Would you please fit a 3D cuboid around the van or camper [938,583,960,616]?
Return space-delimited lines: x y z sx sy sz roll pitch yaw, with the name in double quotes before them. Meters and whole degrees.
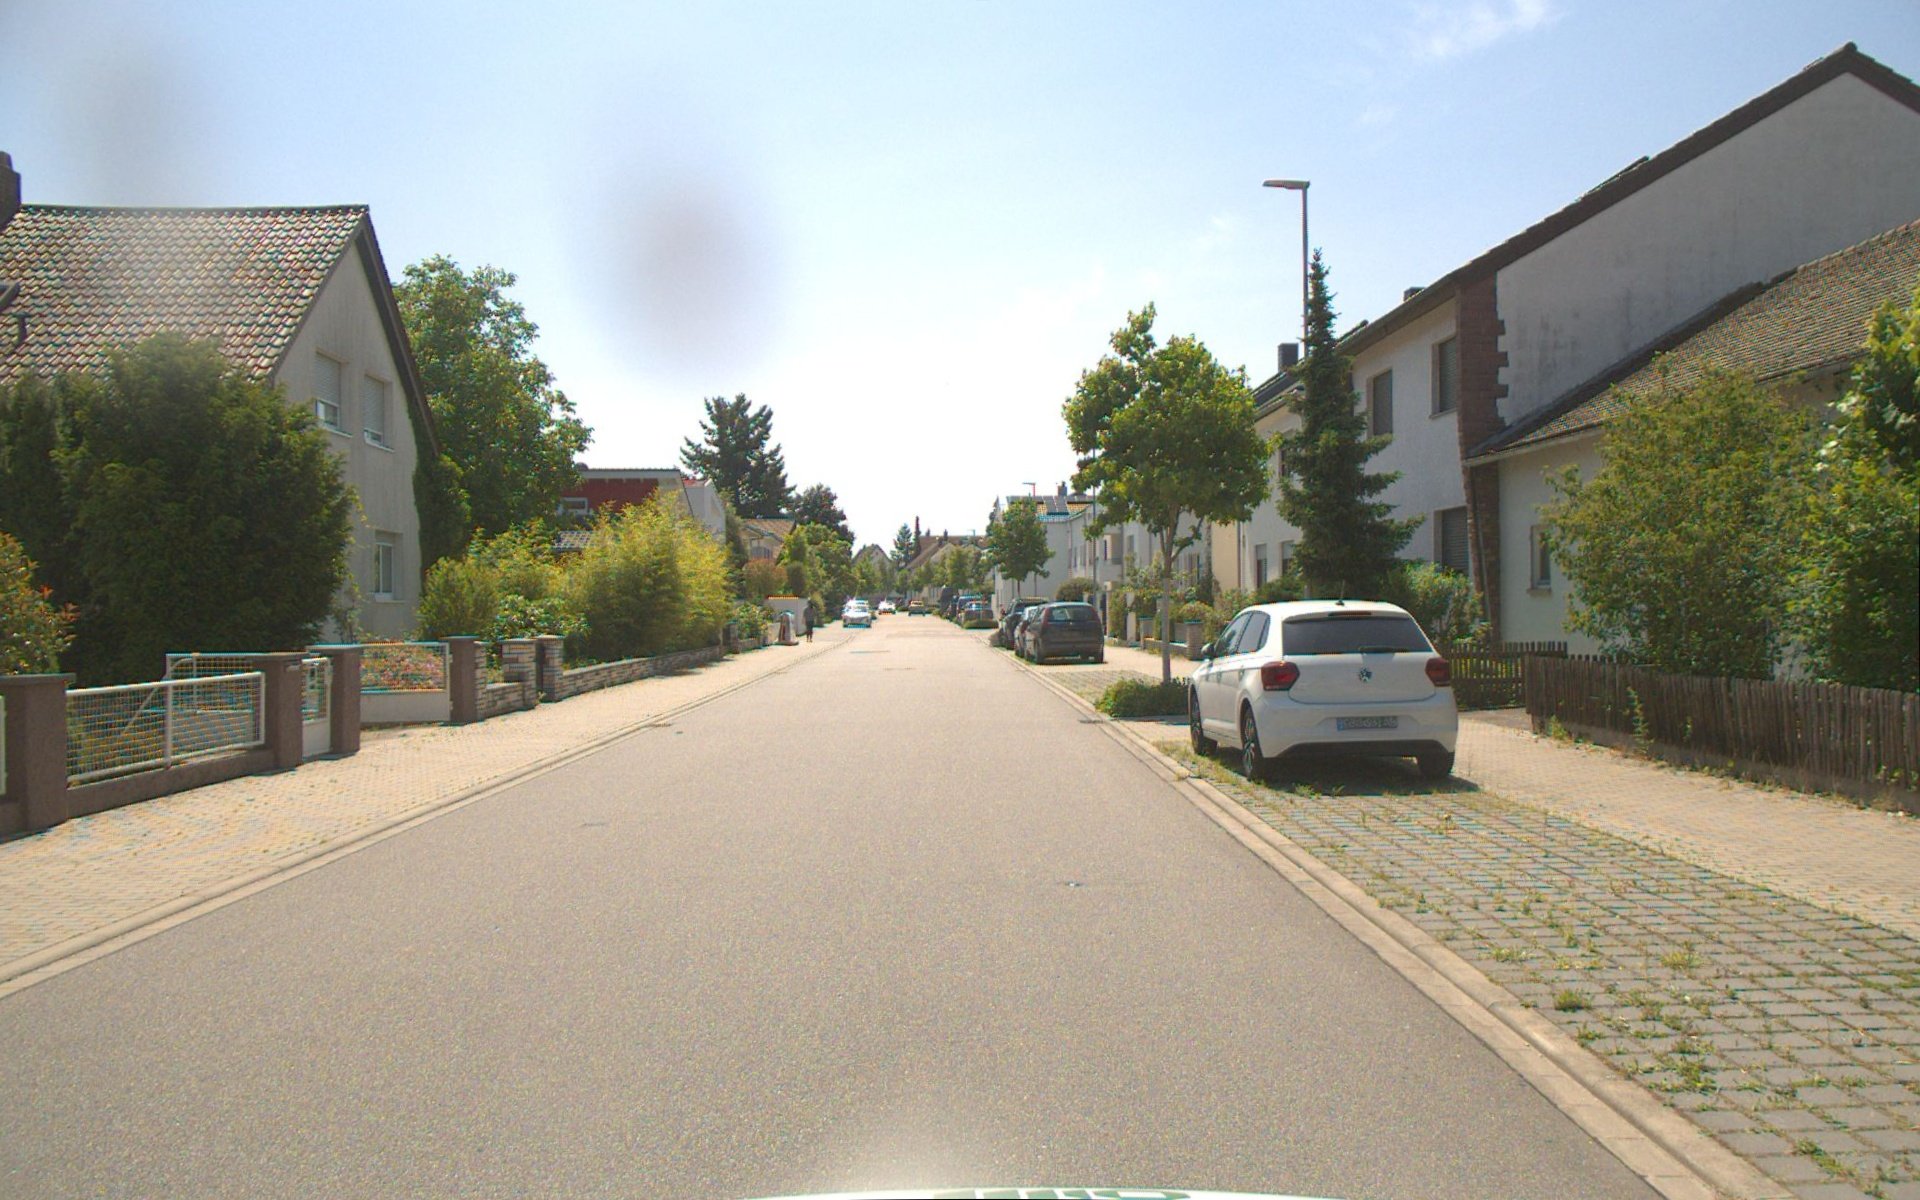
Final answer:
"van or camper" -1.071 -0.039 156.547 1.953 2.993 3.998 -1 0 -2

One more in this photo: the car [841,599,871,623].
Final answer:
"car" -6.851 0.725 109.079 1.814 1.514 4.384 -1 0 -2

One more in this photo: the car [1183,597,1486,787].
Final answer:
"car" 3.188 0.712 14.842 1.777 1.445 3.867 -1 0 -1

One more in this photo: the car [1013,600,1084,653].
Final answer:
"car" 2.535 0.735 48.153 1.777 1.445 4.092 -1 0 -1

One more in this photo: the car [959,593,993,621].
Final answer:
"car" 0.958 0.406 100.836 1.738 1.623 4.275 -1 0 -4

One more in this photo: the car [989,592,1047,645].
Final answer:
"car" 1.975 0.606 57.409 1.777 1.685 4.563 -1 1 -1

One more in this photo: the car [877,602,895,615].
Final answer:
"car" -8.547 0.966 191.336 1.815 1.504 4.700 -1 0 0

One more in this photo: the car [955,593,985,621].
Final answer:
"car" 0.680 0.510 117.474 2.057 1.915 4.842 -1 0 -1

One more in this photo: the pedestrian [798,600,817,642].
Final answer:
"pedestrian" -6.452 0.891 70.122 0.700 1.778 0.960 -1 0 -2

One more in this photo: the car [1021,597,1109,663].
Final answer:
"car" 2.624 0.724 42.295 1.707 1.560 4.446 -1 0 -4

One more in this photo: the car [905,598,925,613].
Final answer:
"car" -4.545 0.544 168.526 1.953 1.455 4.000 -1 0 0
